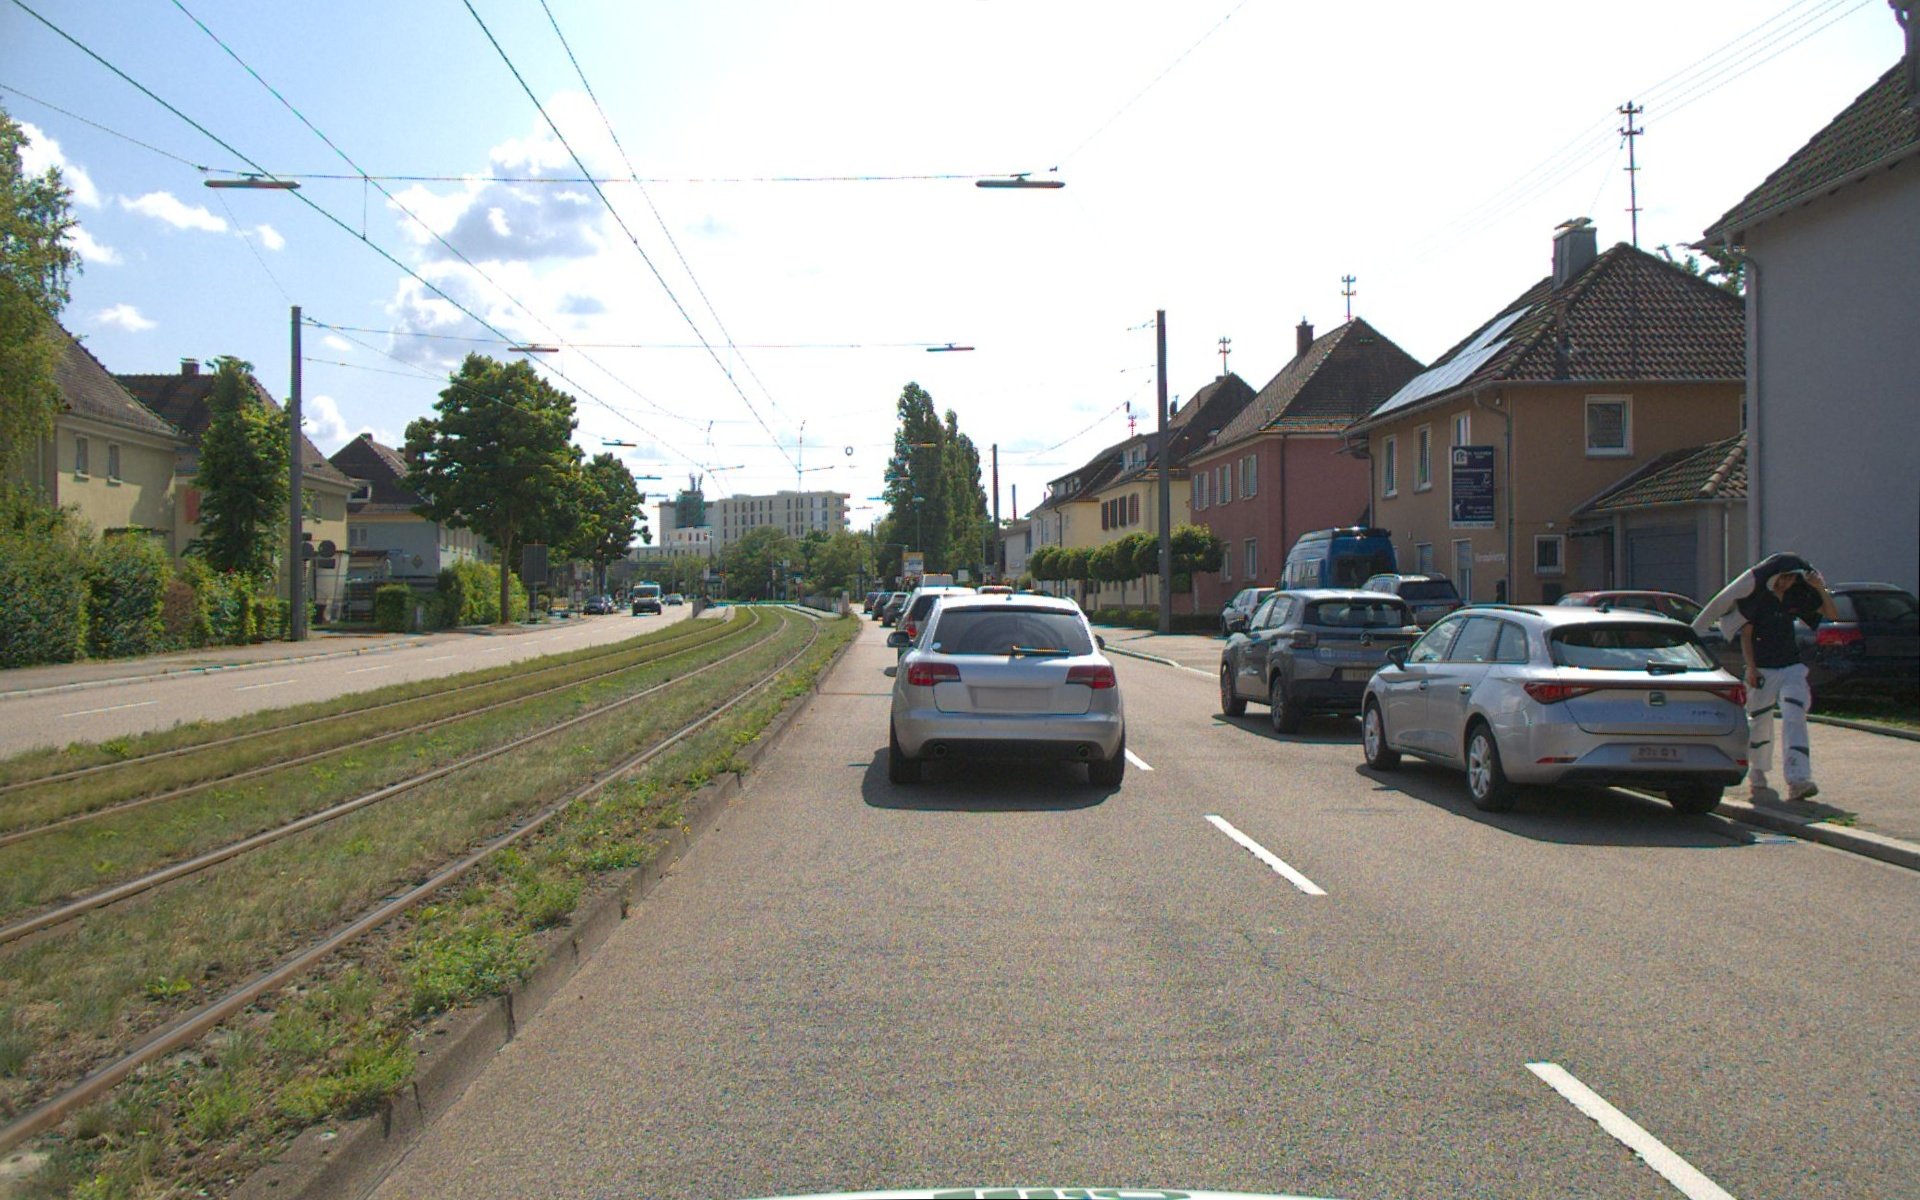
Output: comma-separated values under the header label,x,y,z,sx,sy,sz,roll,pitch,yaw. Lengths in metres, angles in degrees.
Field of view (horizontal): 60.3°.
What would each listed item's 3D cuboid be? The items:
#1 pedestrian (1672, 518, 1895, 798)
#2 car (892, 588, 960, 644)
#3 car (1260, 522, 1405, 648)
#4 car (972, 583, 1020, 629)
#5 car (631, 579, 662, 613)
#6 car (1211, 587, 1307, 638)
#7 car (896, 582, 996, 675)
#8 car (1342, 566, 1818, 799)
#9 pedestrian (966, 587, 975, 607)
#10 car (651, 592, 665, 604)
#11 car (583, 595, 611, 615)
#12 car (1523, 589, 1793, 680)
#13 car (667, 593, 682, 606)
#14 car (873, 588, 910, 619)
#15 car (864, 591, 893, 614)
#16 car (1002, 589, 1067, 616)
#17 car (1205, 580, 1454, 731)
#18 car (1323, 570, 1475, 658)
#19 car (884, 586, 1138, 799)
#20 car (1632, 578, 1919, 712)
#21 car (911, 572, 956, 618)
label,x,y,z,sx,sy,sz,roll,pitch,yaw
pedestrian,6.097,0.413,12.323,1.089,1.980,1.091,0,-1,-2
car,-0.950,0.414,46.884,1.847,1.491,4.093,-1,0,-1
car,9.500,-0.341,42.758,2.108,2.981,6.241,1,0,-2
car,1.456,0.213,65.863,1.846,1.761,4.095,-1,0,2
car,-23.095,-0.286,121.835,2.157,2.413,5.318,-2,0,-11
car,8.920,0.370,49.629,1.617,1.434,4.344,-1,0,-7
car,-0.316,0.501,31.622,1.751,1.604,4.093,2,0,-2
car,4.569,0.551,13.052,1.779,1.479,4.640,1,0,-3
pedestrian,1.018,-0.269,154.320,0.707,1.814,0.702,-3,0,-6
car,-41.991,-0.248,230.117,1.830,1.680,3.988,1,0,-12
car,-29.118,0.393,132.814,1.752,1.612,3.926,0,0,-6
car,11.045,0.537,26.315,3.577,1.404,1.725,0,-1,-5
car,-36.300,-0.078,210.174,1.863,1.568,3.719,1,0,-11
car,-3.584,0.190,86.941,1.847,1.557,4.093,1,0,-1
car,-5.685,0.165,115.775,1.847,1.557,4.093,1,0,-1
car,4.598,0.130,102.025,1.882,1.483,4.069,1,2,42
car,4.261,0.607,19.775,1.771,1.587,4.250,1,0,-4
car,9.579,0.261,36.507,1.800,1.741,4.861,-2,1,-3
car,0.357,0.665,14.187,1.816,1.518,4.535,1,0,0
car,10.274,0.478,20.492,1.762,1.448,4.855,-1,0,-2
car,-1.581,-0.282,96.528,2.003,2.602,5.221,0,0,-8
